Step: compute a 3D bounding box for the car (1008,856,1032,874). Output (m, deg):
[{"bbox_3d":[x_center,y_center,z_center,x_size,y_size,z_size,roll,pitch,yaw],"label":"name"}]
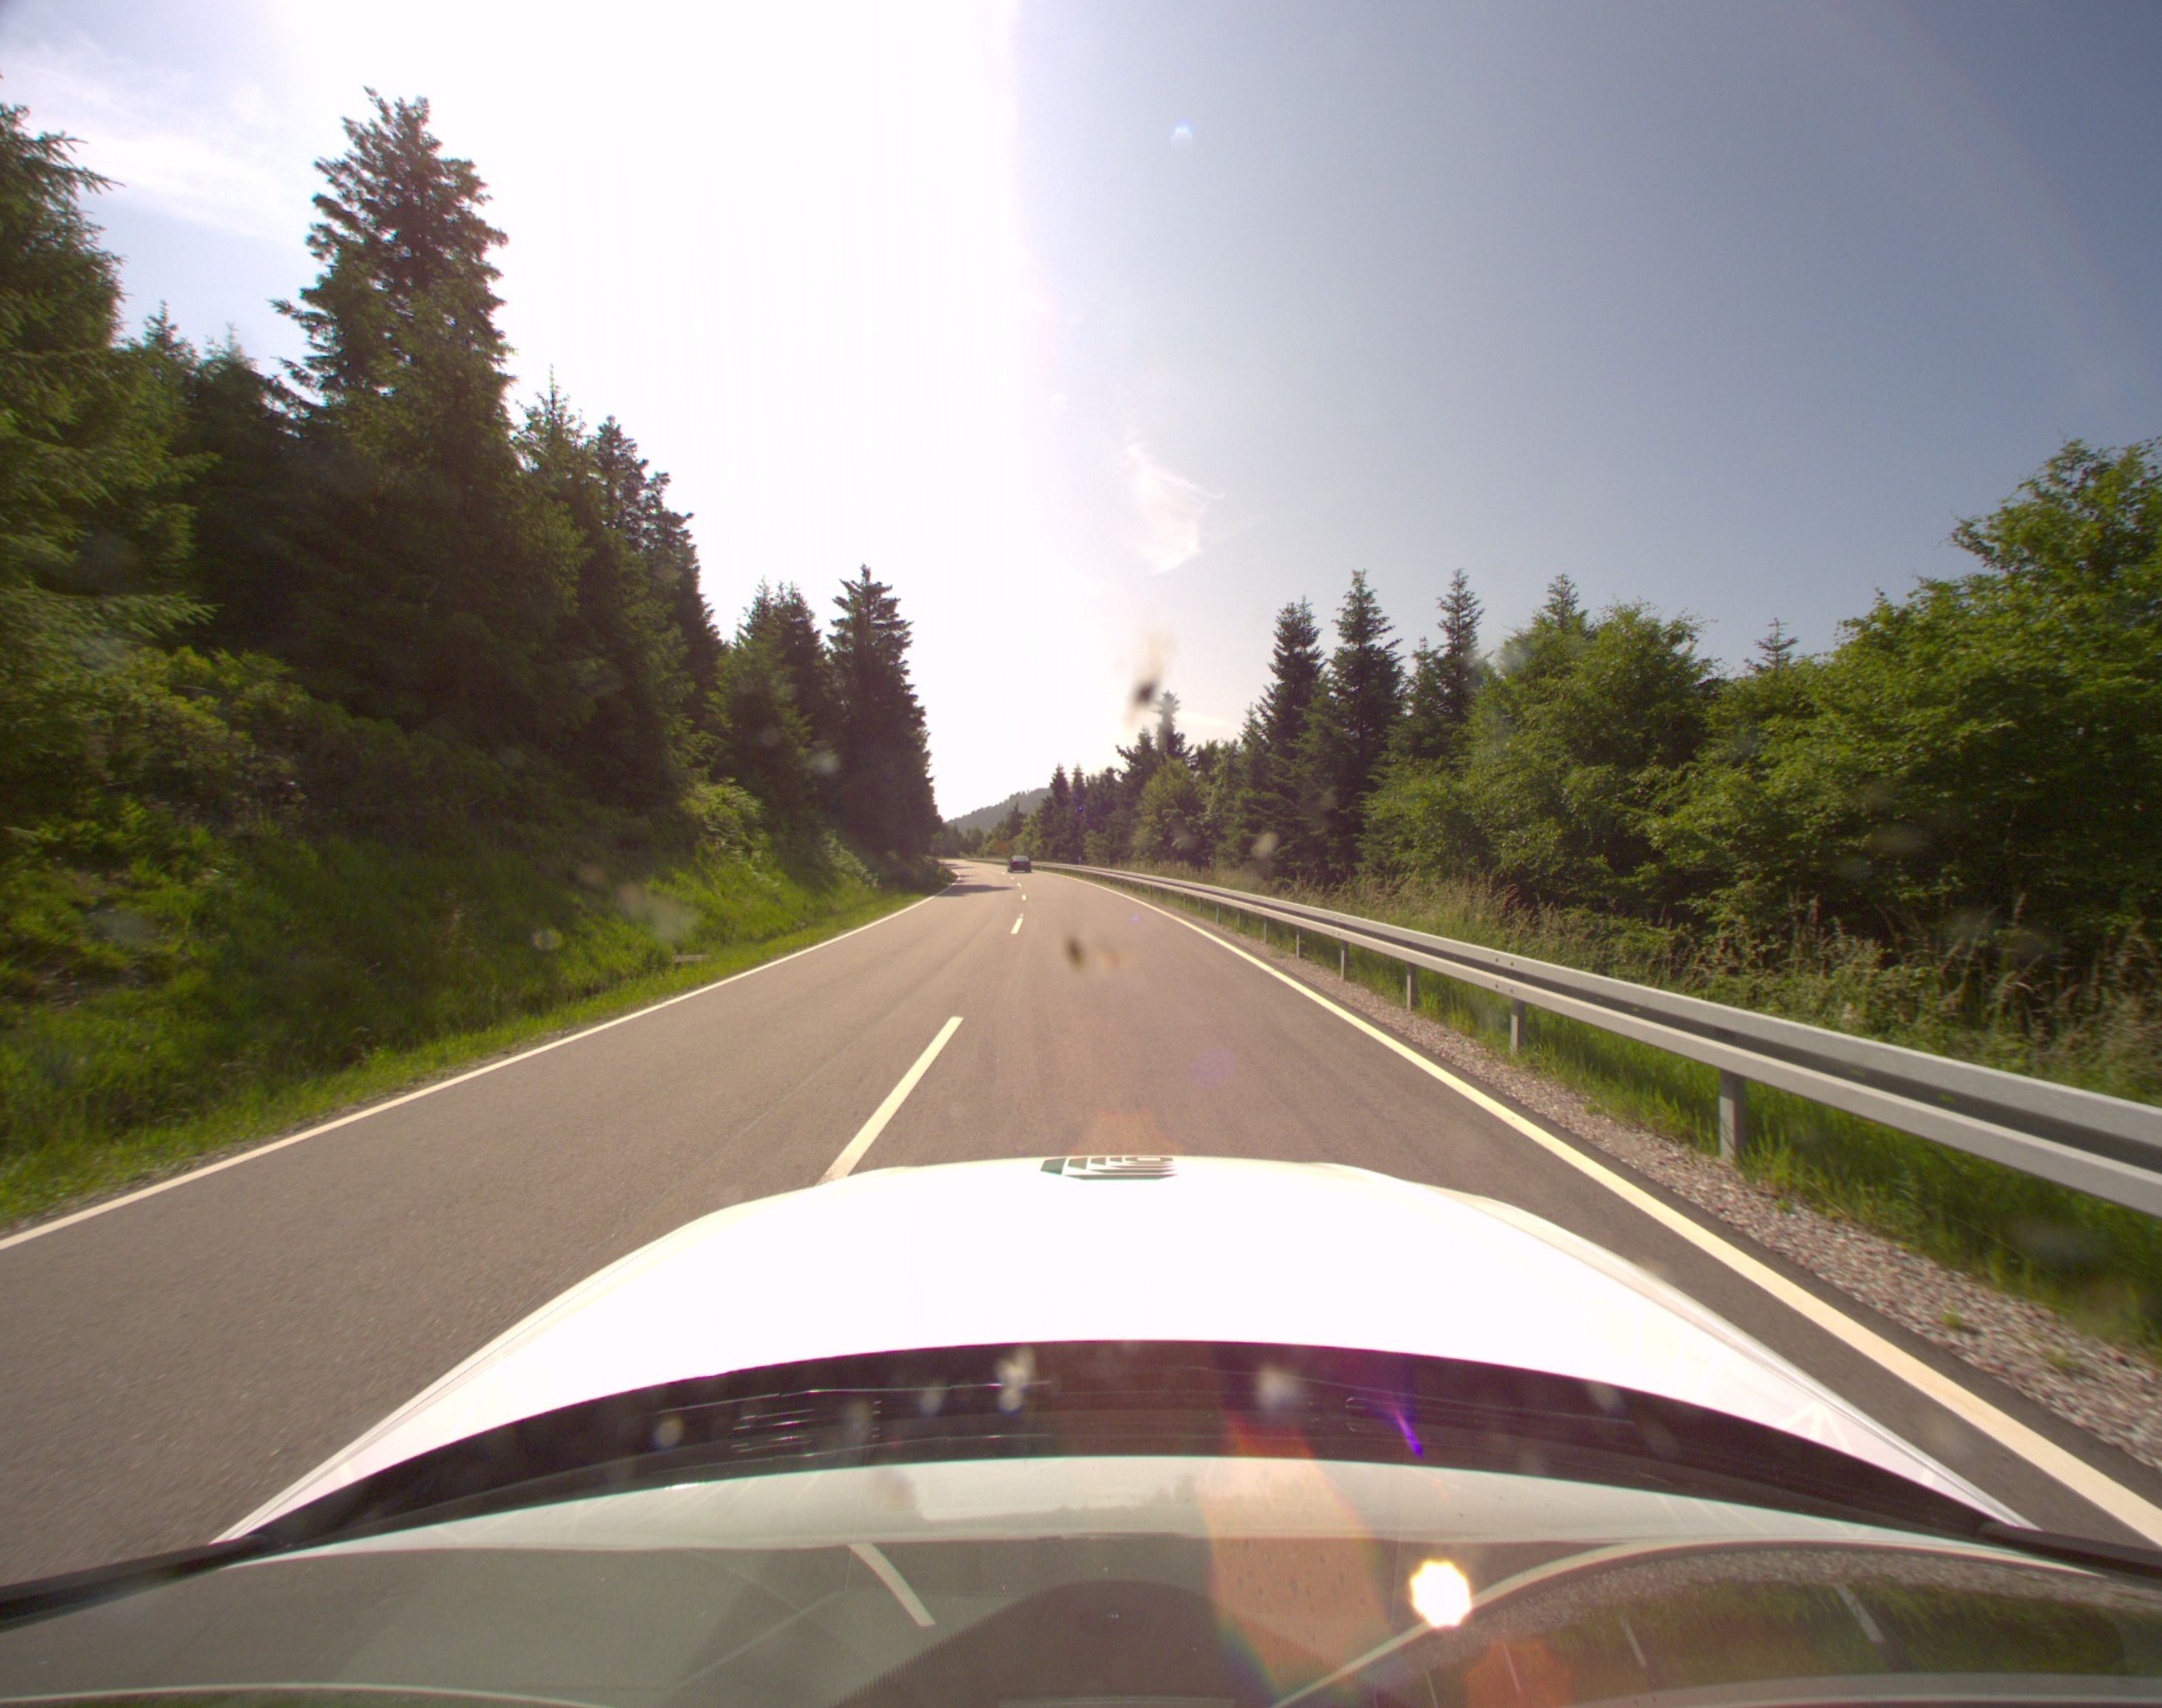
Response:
[{"bbox_3d":[-5.204,0.920,69.286,1.775,1.442,3.698,-2,0,-8],"label":"car"}]
